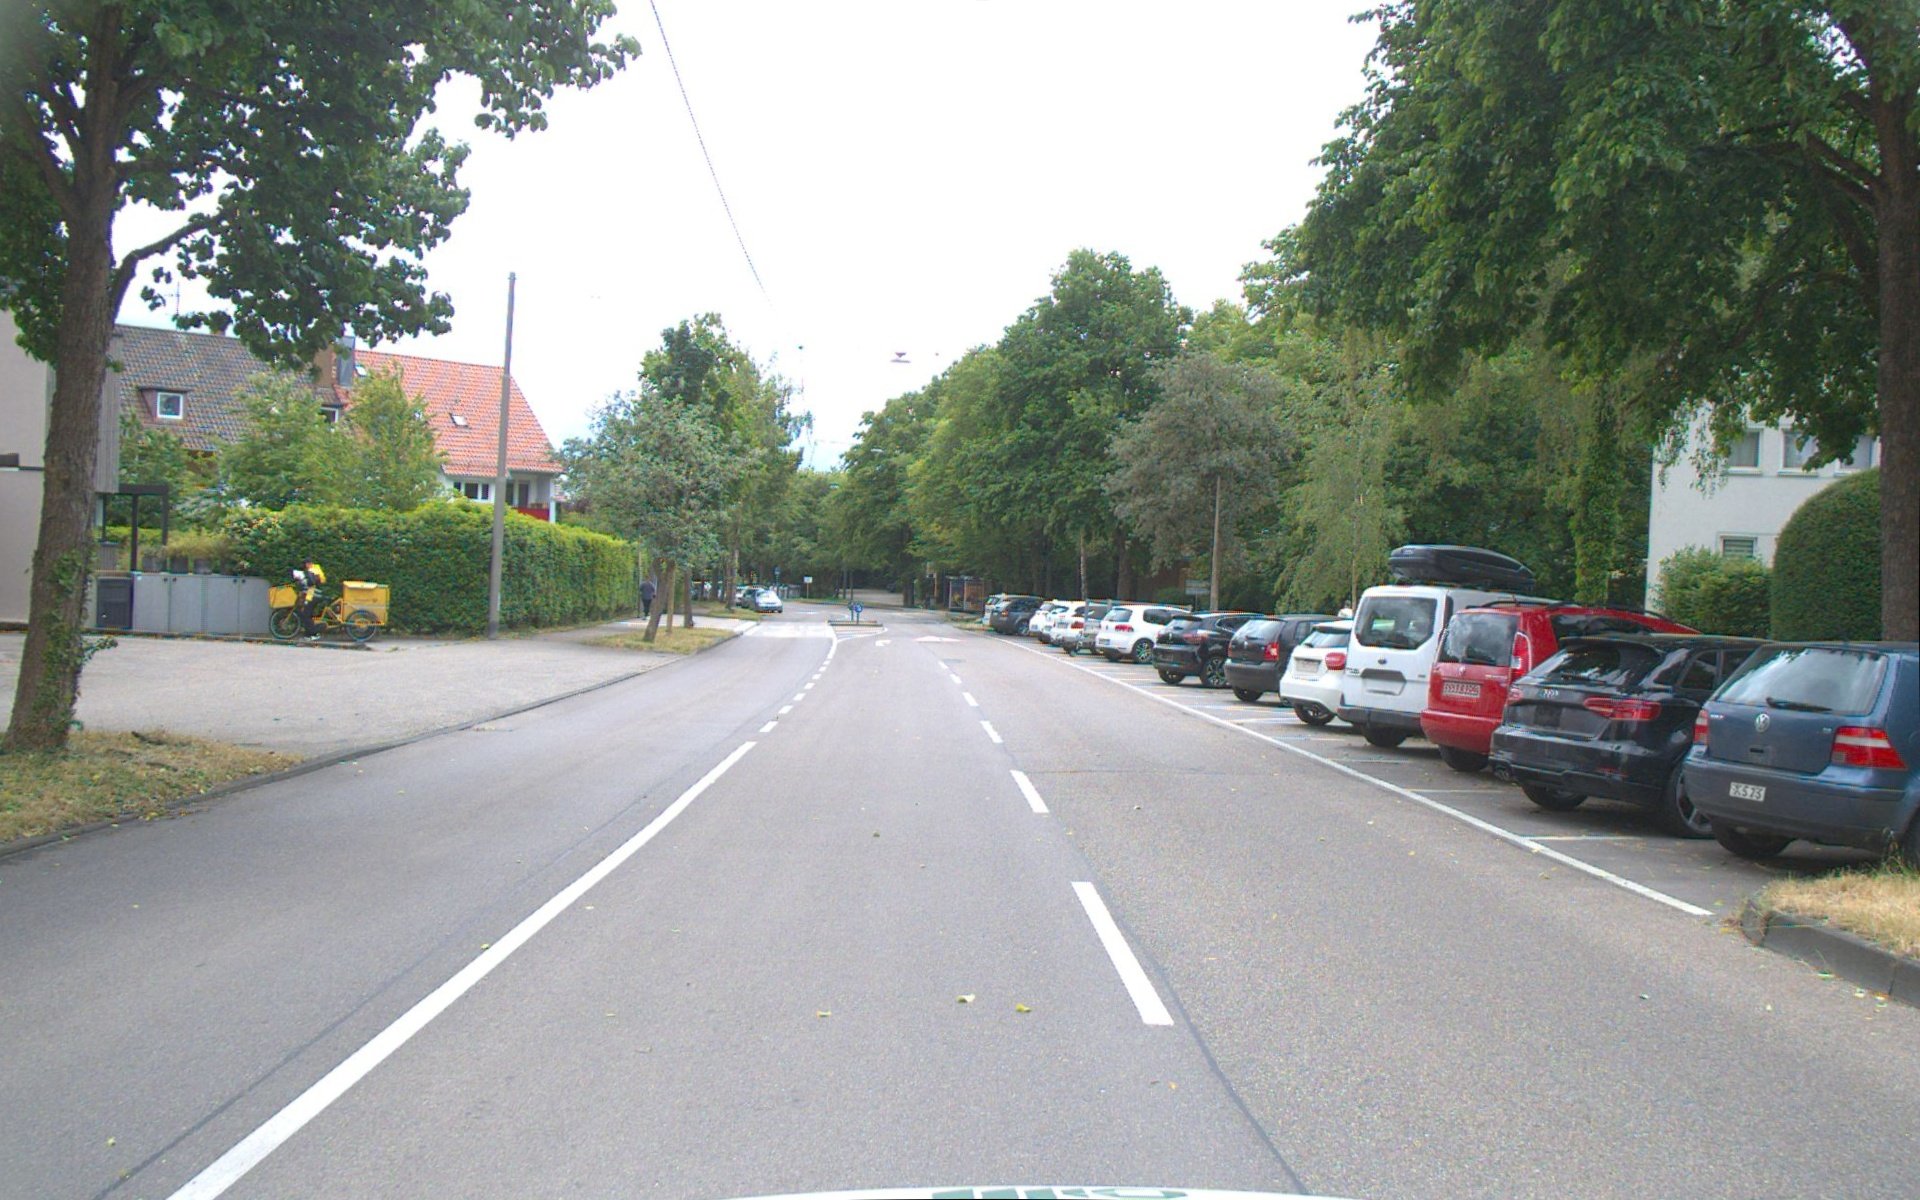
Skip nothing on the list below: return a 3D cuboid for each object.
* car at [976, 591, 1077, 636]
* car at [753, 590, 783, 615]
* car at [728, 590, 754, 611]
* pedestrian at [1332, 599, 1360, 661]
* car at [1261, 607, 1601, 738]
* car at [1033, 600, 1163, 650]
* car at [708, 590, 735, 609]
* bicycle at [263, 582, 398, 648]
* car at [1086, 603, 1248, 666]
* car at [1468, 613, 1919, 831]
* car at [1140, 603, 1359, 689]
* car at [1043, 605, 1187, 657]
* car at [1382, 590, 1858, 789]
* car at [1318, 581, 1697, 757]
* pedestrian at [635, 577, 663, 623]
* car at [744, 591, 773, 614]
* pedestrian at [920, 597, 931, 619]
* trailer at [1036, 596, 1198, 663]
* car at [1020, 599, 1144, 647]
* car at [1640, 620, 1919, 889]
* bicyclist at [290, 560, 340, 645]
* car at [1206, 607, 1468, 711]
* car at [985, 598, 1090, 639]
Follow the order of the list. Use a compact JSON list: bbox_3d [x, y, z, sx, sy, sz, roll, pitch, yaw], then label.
[{"bbox_3d":[2.790,0.576,69.405,3.828,1.697,1.733,3,0,-21],"label":"car"},{"bbox_3d":[-12.606,0.145,108.245,1.832,1.496,3.993,2,0,-8],"label":"car"},{"bbox_3d":[-16.637,0.003,125.553,1.832,1.496,3.993,2,0,-8],"label":"car"},{"bbox_3d":[10.694,0.824,45.831,0.636,1.700,0.744,1,0,5],"label":"pedestrian"},{"bbox_3d":[6.229,0.947,21.996,3.903,1.474,1.910,3,0,-16],"label":"car"},{"bbox_3d":[4.512,0.825,54.080,3.828,1.454,1.733,3,0,-21],"label":"car"},{"bbox_3d":[-19.663,-0.052,136.330,1.835,1.496,3.986,2,0,-14],"label":"car"},{"bbox_3d":[-13.411,0.316,35.304,2.605,1.288,0.842,2,1,-21],"label":"bicycle"},{"bbox_3d":[5.438,0.902,43.450,3.831,1.474,1.732,3,0,-23],"label":"car"},{"bbox_3d":[6.172,0.940,12.826,3.967,1.430,1.747,3,0,-19],"label":"car"},{"bbox_3d":[5.650,0.897,32.314,3.835,1.474,1.830,3,0,-25],"label":"car"},{"bbox_3d":[4.524,0.900,48.294,3.836,1.332,1.730,3,0,-26],"label":"car"},{"bbox_3d":[6.336,0.850,15.980,3.934,1.648,1.876,3,0,-17],"label":"car"},{"bbox_3d":[6.268,0.797,18.890,4.039,1.785,1.771,3,0,-28],"label":"car"},{"bbox_3d":[-11.997,0.000,63.830,0.955,1.761,0.848,2,0,-5],"label":"pedestrian"},{"bbox_3d":[-13.878,0.185,113.778,1.832,1.496,3.993,2,0,-8],"label":"car"},{"bbox_3d":[-2.600,0.616,124.145,0.725,1.597,0.652,1,0,10],"label":"pedestrian"},{"bbox_3d":[4.321,0.814,45.601,4.093,1.600,1.702,3,-1,-20],"label":"trailer"},{"bbox_3d":[4.180,0.796,56.648,3.828,1.454,1.733,3,0,-21],"label":"car"},{"bbox_3d":[6.581,0.970,10.511,3.900,1.430,1.749,3,0,-16],"label":"car"},{"bbox_3d":[-13.626,0.045,34.975,0.697,1.727,0.847,2,1,-4],"label":"bicyclist"},{"bbox_3d":[6.222,0.970,27.327,3.829,1.474,1.833,3,0,-21],"label":"car"},{"bbox_3d":[3.130,0.739,66.624,3.828,1.454,1.733,3,0,-21],"label":"car"}]
